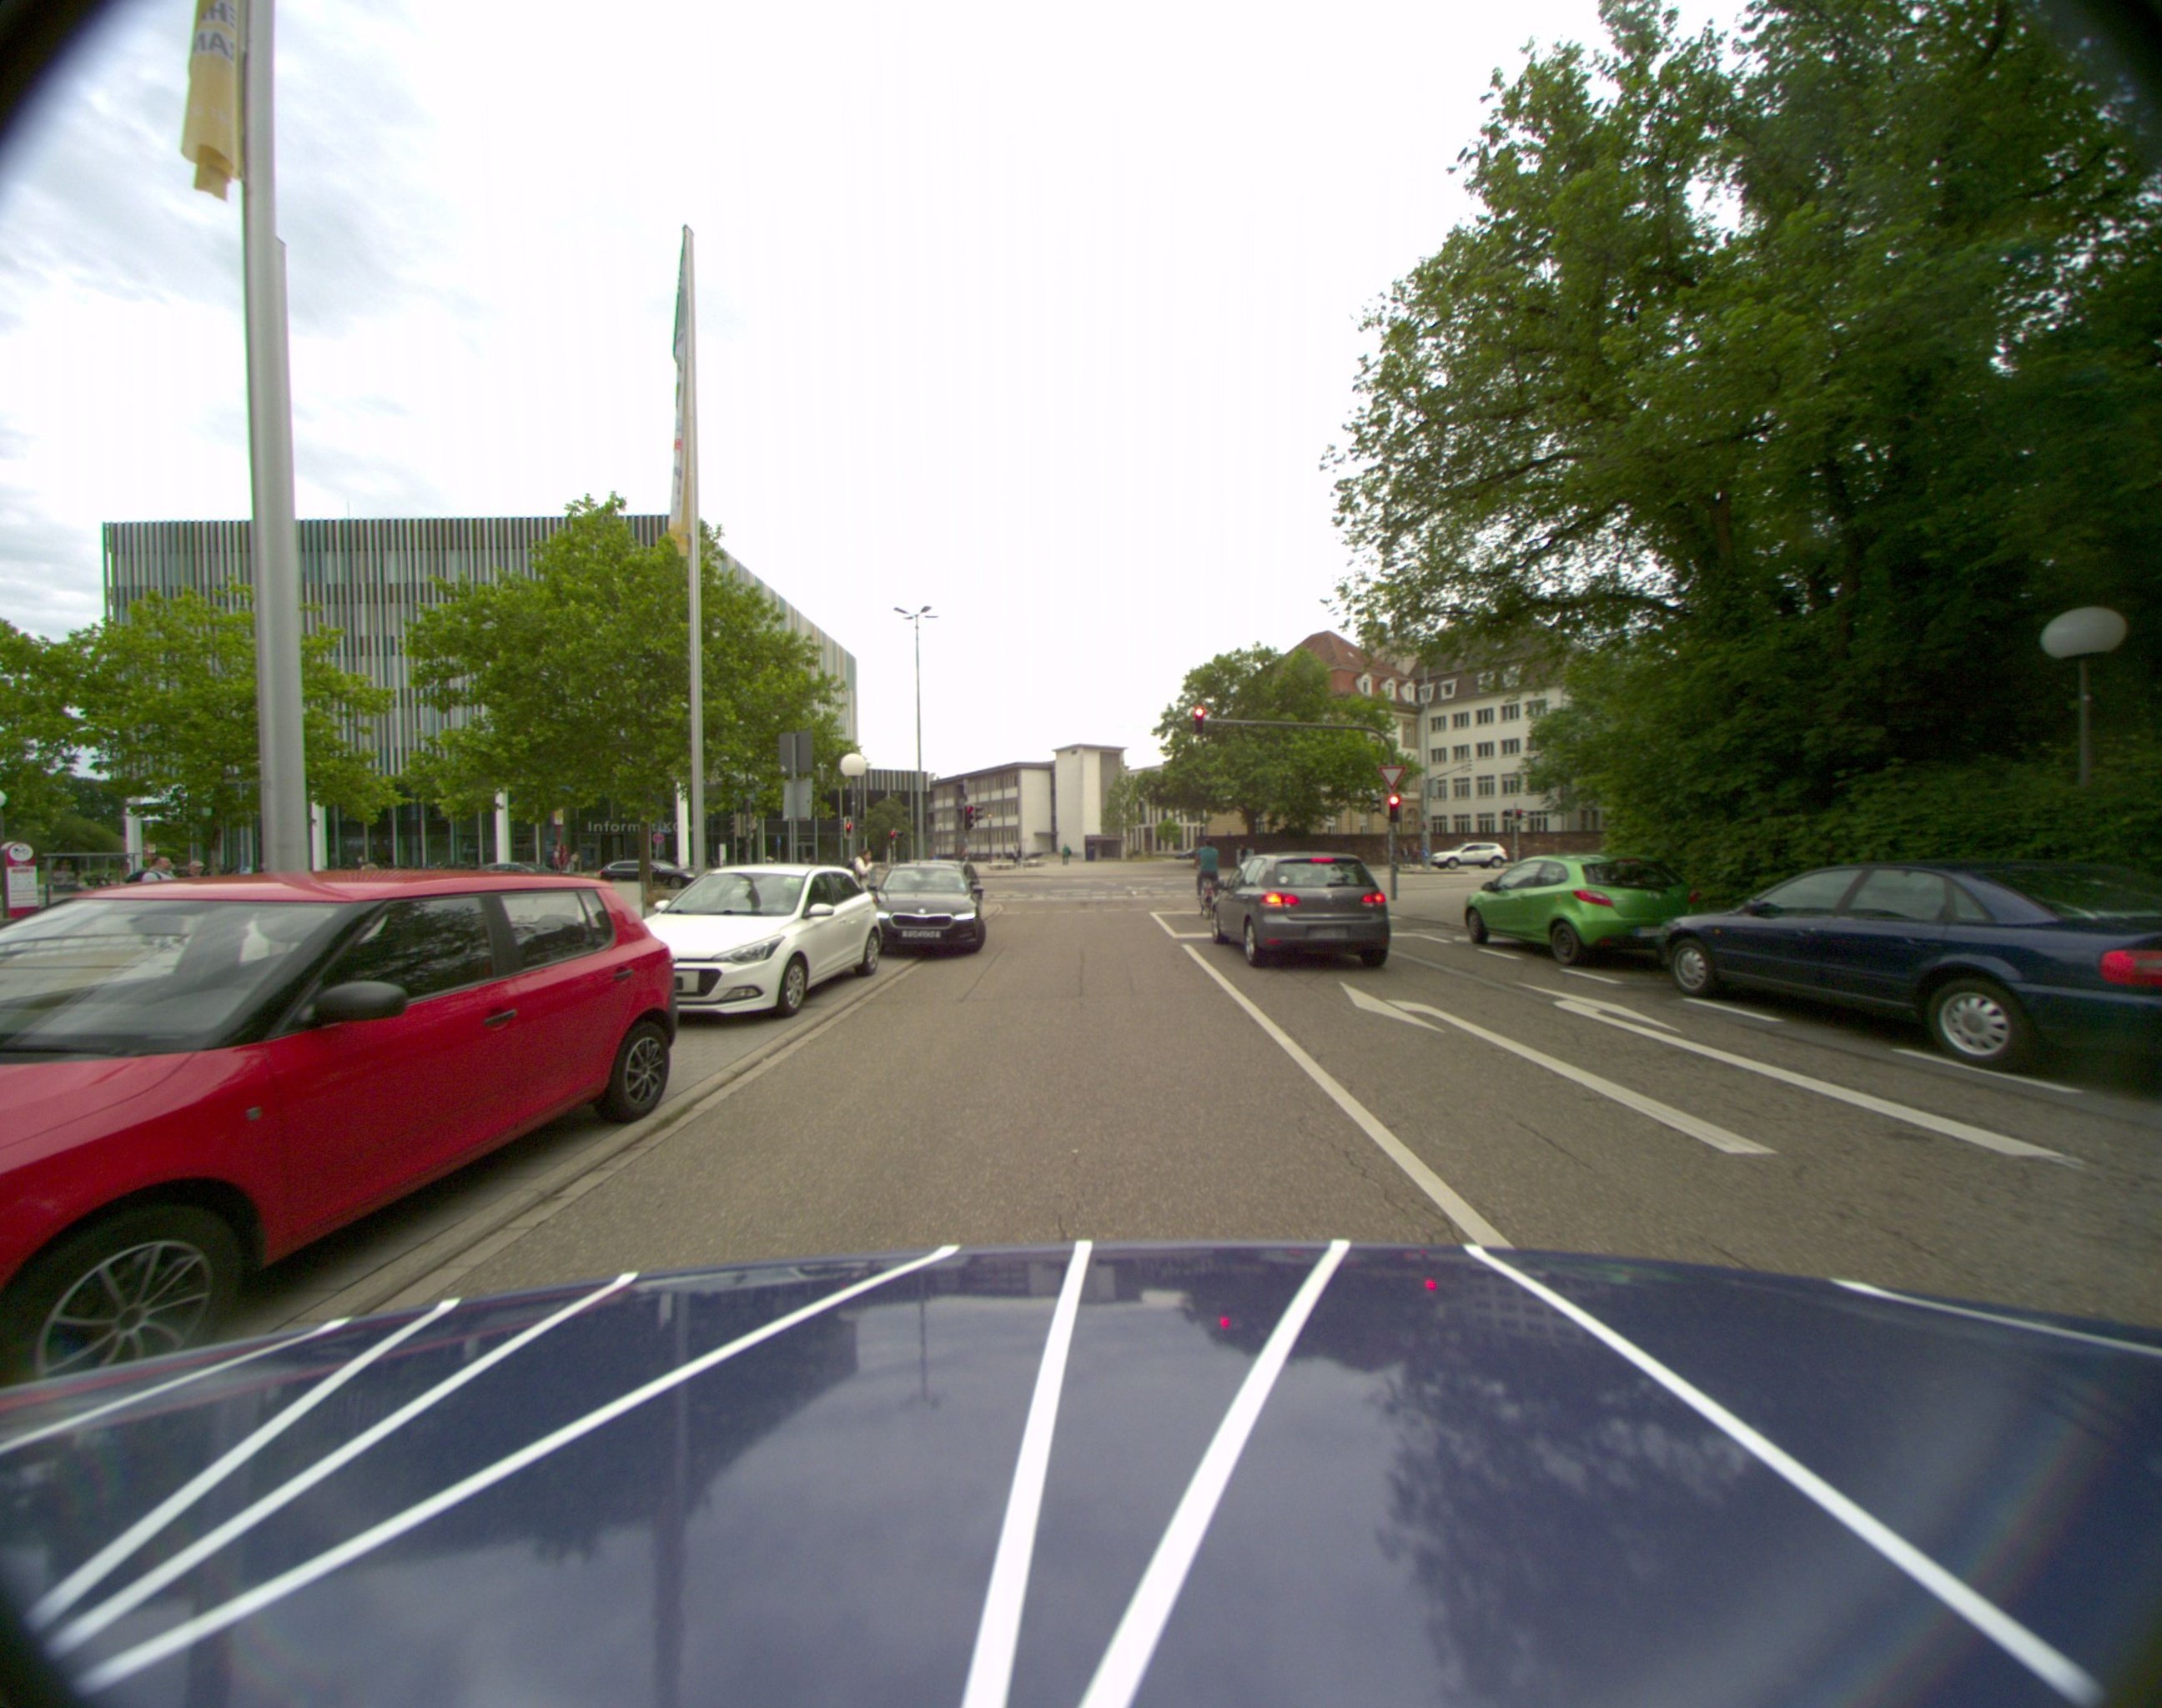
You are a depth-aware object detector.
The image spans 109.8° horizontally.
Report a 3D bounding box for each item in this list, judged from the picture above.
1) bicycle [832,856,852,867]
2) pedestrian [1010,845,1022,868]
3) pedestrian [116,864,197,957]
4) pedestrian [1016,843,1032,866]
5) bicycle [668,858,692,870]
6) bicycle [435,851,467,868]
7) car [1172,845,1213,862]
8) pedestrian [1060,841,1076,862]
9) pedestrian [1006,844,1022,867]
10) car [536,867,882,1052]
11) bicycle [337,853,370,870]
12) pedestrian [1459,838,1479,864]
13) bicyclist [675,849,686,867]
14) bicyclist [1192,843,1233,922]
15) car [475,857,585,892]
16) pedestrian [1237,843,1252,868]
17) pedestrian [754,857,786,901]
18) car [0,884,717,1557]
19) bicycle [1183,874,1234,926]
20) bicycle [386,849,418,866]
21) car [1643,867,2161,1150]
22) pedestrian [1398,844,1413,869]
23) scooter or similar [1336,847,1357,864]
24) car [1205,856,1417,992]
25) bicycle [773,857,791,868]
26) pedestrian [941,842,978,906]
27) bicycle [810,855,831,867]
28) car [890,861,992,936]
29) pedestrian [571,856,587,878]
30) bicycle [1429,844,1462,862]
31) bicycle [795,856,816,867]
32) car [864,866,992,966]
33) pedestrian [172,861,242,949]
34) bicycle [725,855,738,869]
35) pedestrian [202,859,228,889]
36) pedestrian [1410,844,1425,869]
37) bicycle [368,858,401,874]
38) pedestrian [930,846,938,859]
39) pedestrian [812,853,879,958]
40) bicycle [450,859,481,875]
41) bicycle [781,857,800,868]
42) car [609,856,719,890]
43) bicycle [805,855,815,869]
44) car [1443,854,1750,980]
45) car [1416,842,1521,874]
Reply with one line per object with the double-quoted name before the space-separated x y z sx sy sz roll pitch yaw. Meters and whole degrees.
"bicycle" -21.174 0.673 67.312 2.004 0.931 0.485 0 2 32
"pedestrian" -4.884 0.196 57.113 0.619 1.656 0.623 -2 1 -41
"pedestrian" -17.531 1.054 14.421 0.672 1.705 0.679 -1 1 6
"pedestrian" -4.405 0.044 59.148 0.848 1.778 0.892 -2 1 -41
"bicycle" -32.799 0.777 62.135 0.483 0.920 1.918 -1 1 18
"bicycle" -49.889 0.445 60.186 0.628 1.251 2.106 -2 -2 5
"car" 13.478 -0.113 91.723 4.409 1.570 1.998 -2 -9 -33
"pedestrian" -1.119 -0.222 63.091 0.908 1.705 0.949 -2 2 -39
"pedestrian" -5.152 0.134 58.584 0.848 1.778 0.892 -2 1 -42
"car" -3.669 0.938 8.396 1.865 1.444 3.858 -1 1 1
"bicycle" -56.982 0.587 59.530 0.628 1.251 2.105 -2 -2 -1
"pedestrian" 26.902 -0.240 52.683 1.006 1.779 0.757 -1 2 0
"bicyclist" -32.790 0.328 62.167 0.483 1.460 0.606 -1 2 18
"bicyclist" 2.992 0.627 17.377 0.659 1.769 0.983 -1 1 -7
"car" -27.572 1.017 38.097 3.996 1.445 2.000 -2 2 3
"pedestrian" 11.426 0.100 53.027 0.808 1.654 0.791 -2 -2 -1
"pedestrian" -11.733 0.928 28.643 0.756 1.617 0.794 -1 1 15
"car" -3.475 0.969 3.258 1.716 1.464 4.273 1 0 1
"bicycle" 2.866 1.013 17.276 0.659 1.032 1.856 -1 1 -7
"bicycle" -53.632 0.303 60.043 0.628 1.251 2.105 -2 -2 -1
"car" 6.954 0.881 6.182 1.801 1.400 4.337 0 1 4
"pedestrian" 22.141 0.168 51.802 0.670 1.729 0.735 -1 2 -2
"scooter or similar" 18.967 0.088 54.337 1.410 1.223 0.496 0 3 19
"car" 2.998 0.819 10.852 1.787 1.488 4.167 -1 1 0
"bicycle" -25.108 0.725 63.711 2.004 0.930 0.485 0 1 40
"pedestrian" -3.740 0.607 23.377 0.791 1.941 0.759 0 1 28
"bicycle" -22.490 0.601 65.607 2.004 0.931 0.485 0 2 32
"car" -3.287 0.992 18.570 1.626 1.493 4.105 1 1 1
"pedestrian" -41.559 1.071 62.907 0.762 1.778 0.802 0 2 2
"bicycle" 26.162 -0.074 54.562 2.156 1.178 0.582 -1 3 -8
"bicycle" -23.447 0.605 64.654 2.004 0.931 0.485 0 2 32
"car" -2.803 0.966 13.602 1.867 1.393 4.473 1 0 -14
"pedestrian" -17.522 1.003 15.244 0.585 1.705 0.658 -1 1 7
"bicycle" -28.359 0.635 61.595 0.485 1.039 1.911 -2 2 -38
"pedestrian" -52.566 1.220 46.139 0.588 1.799 0.809 -1 1 5
"pedestrian" 22.949 0.161 51.856 0.642 1.684 0.779 -1 2 0
"bicycle" -54.716 0.941 59.693 0.628 1.251 2.104 -1 1 -1
"pedestrian" -20.179 -0.232 104.361 0.777 1.779 0.759 -1 1 -31
"pedestrian" -4.165 0.890 13.504 0.792 1.777 0.822 -1 1 13
"bicycle" -48.711 1.060 60.154 0.628 1.251 2.106 -2 -2 5
"bicycle" -24.579 0.723 64.230 2.004 0.930 0.550 0 1 40
"car" -20.578 0.920 37.599 4.289 1.481 2.000 -1 1 0
"bicycle" -20.614 0.620 57.801 0.484 1.039 1.779 -2 2 -28
"car" 7.225 0.762 11.294 1.802 1.461 4.248 -1 1 2
"car" 23.847 0.267 46.942 5.368 1.687 2.049 -2 -2 4
